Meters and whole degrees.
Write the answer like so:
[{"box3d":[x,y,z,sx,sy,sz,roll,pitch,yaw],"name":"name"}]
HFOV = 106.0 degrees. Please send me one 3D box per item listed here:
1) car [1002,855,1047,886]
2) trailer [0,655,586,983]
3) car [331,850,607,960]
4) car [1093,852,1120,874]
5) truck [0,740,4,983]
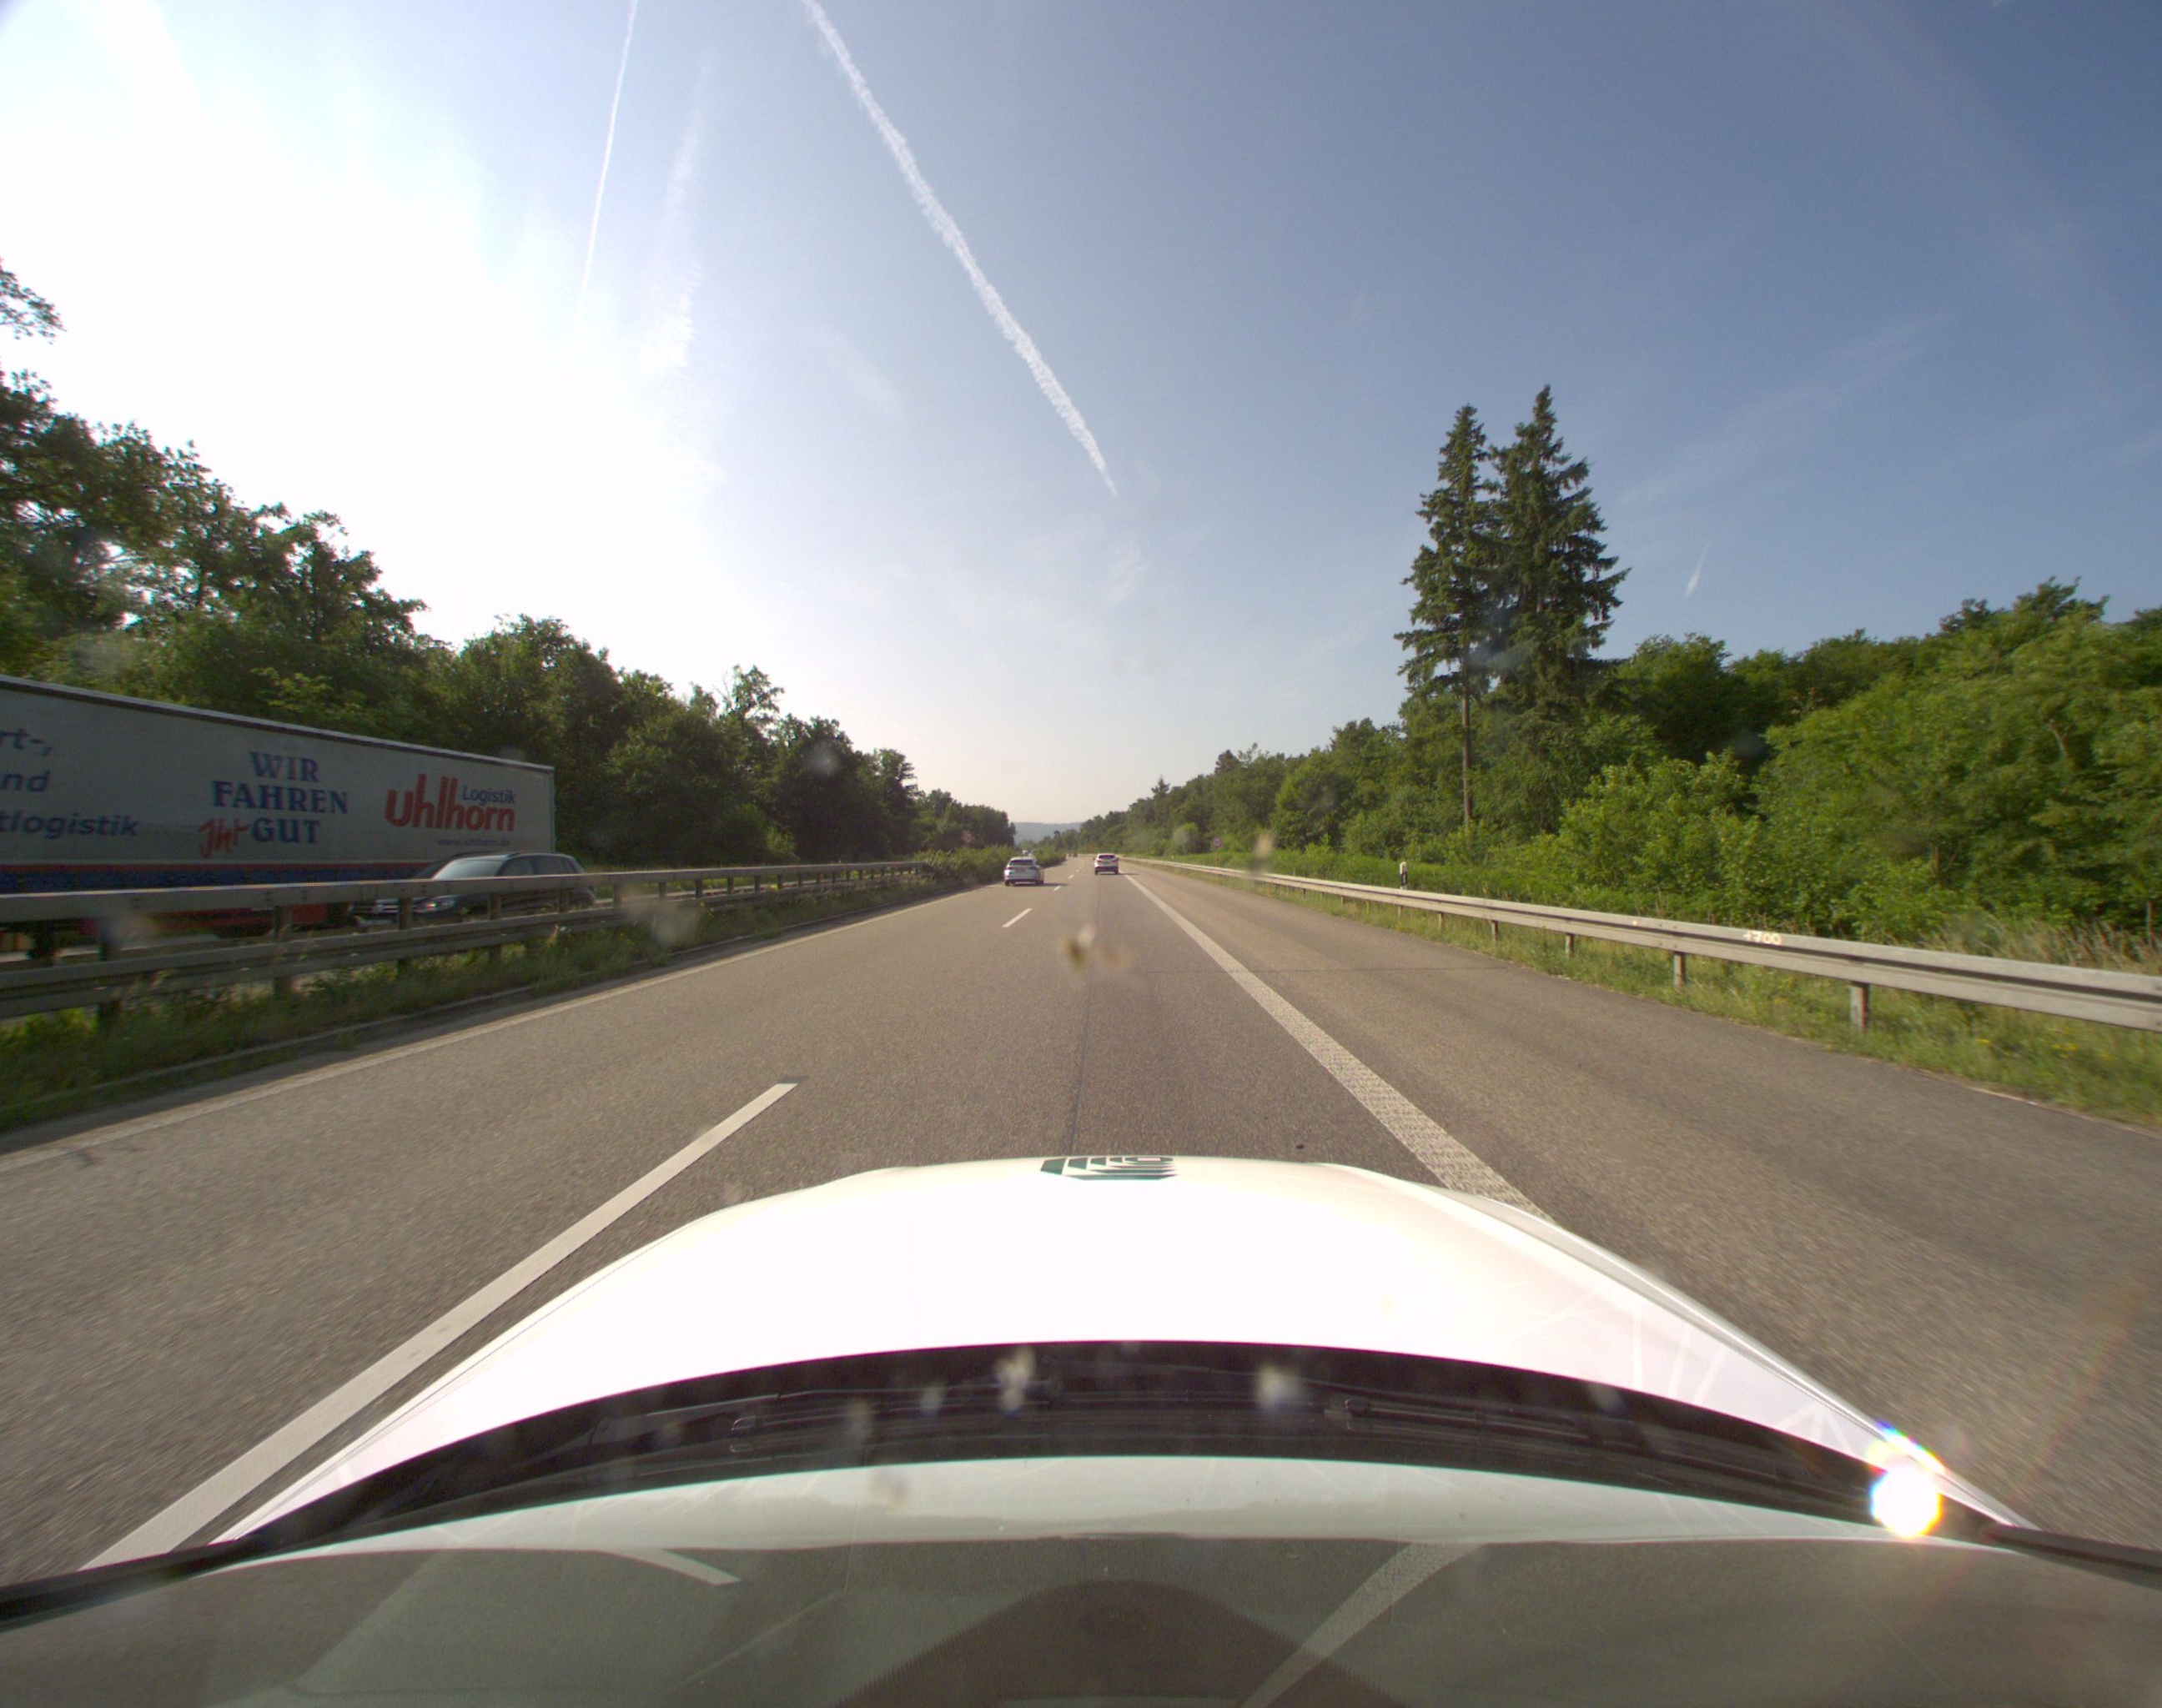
[{"box3d":[-2.873,0.817,42.528,1.786,1.438,5.280,-2,0,1],"name":"car"},{"box3d":[-15.123,-0.407,16.095,2.822,4.208,12.413,-2,0,1],"name":"trailer"},{"box3d":[-10.646,0.789,14.626,1.679,1.688,4.170,-1,0,2],"name":"car"},{"box3d":[1.930,0.668,62.102,1.868,1.586,3.999,1,0,-1],"name":"car"},{"box3d":[-15.250,-0.417,7.626,2.828,4.196,5.547,-2,0,1],"name":"truck"}]
